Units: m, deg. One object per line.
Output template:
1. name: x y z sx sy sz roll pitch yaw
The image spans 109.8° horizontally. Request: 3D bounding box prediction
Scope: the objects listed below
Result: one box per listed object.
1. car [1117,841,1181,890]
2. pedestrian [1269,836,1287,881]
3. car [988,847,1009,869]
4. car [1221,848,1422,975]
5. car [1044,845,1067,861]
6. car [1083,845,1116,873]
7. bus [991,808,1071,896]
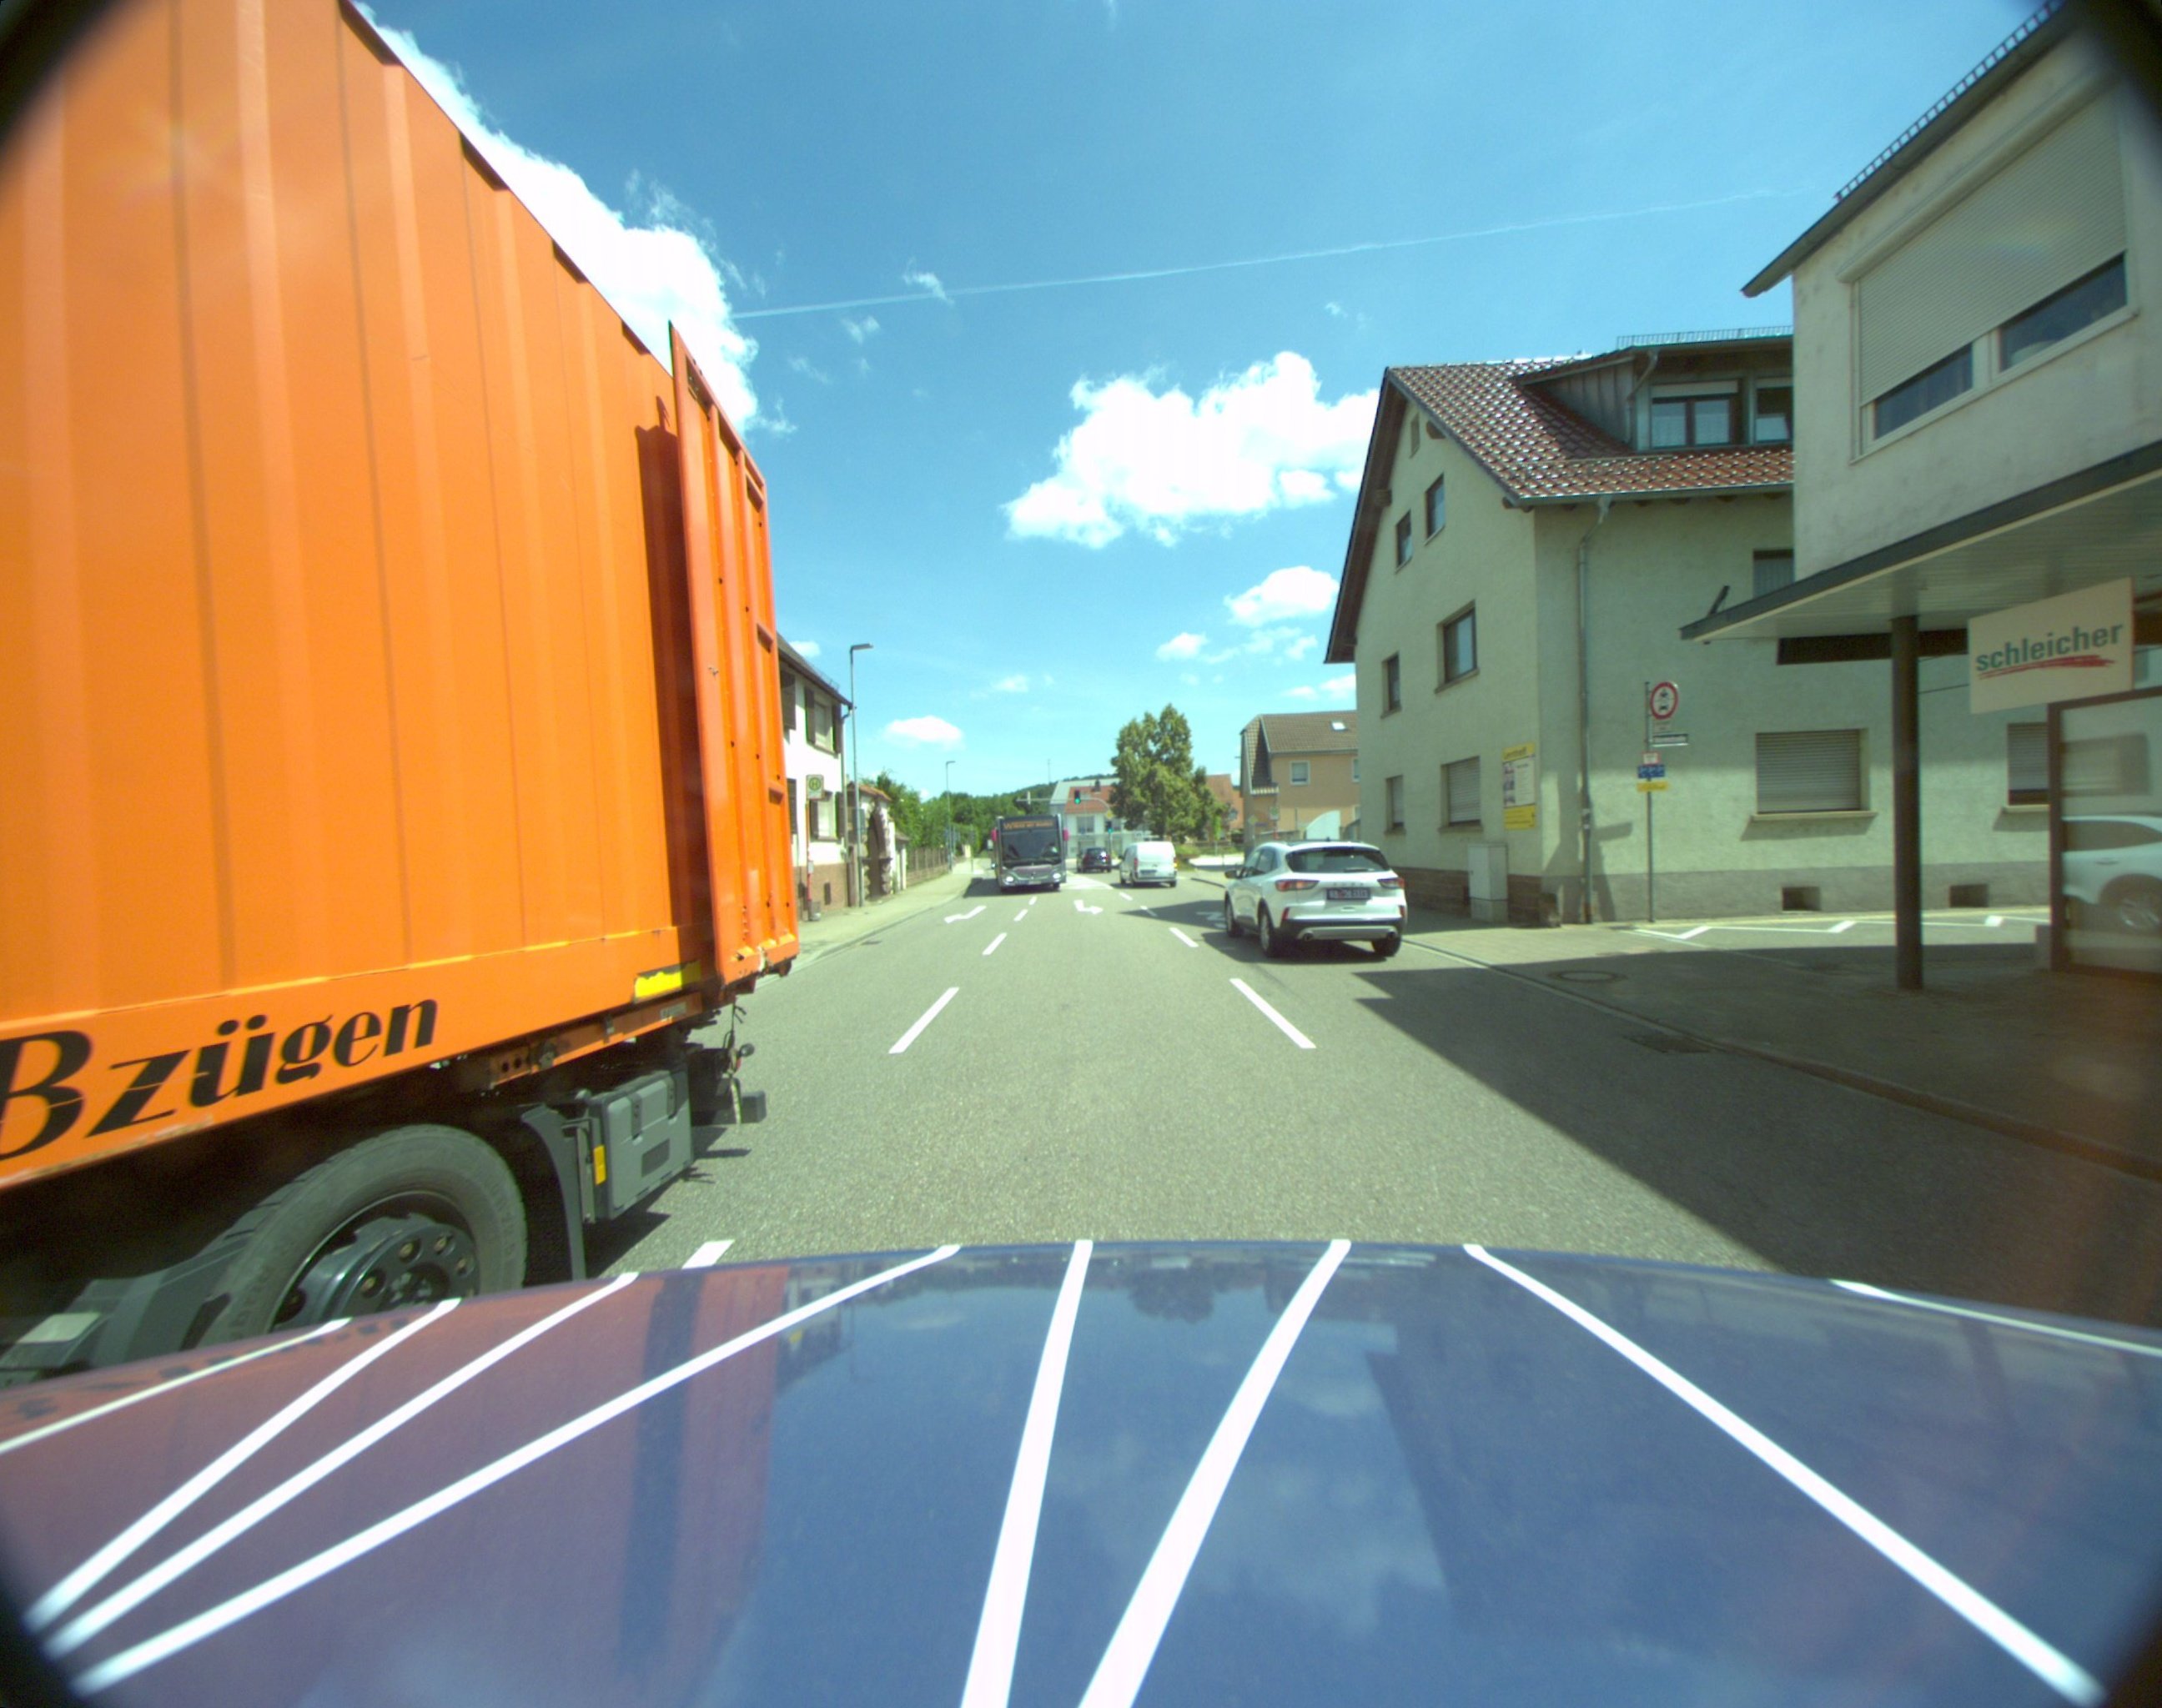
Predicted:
1. car: 2.734 0.404 31.438 1.788 1.819 4.597 -1 1 -6
2. pedestrian: 7.924 0.179 30.524 0.471 1.754 0.478 -3 1 -21
3. car: -7.265 0.319 67.060 1.788 1.819 4.349 -1 1 -6
4. car: 3.411 0.713 11.676 1.822 1.546 4.197 0 1 1
5. car: -2.534 -0.097 74.640 1.786 1.448 4.528 -2 1 -6
6. car: 1.131 0.274 48.025 1.753 1.602 3.998 -2 1 -3
7. bus: -2.870 -0.181 37.722 2.860 3.186 19.019 -2 1 -6
